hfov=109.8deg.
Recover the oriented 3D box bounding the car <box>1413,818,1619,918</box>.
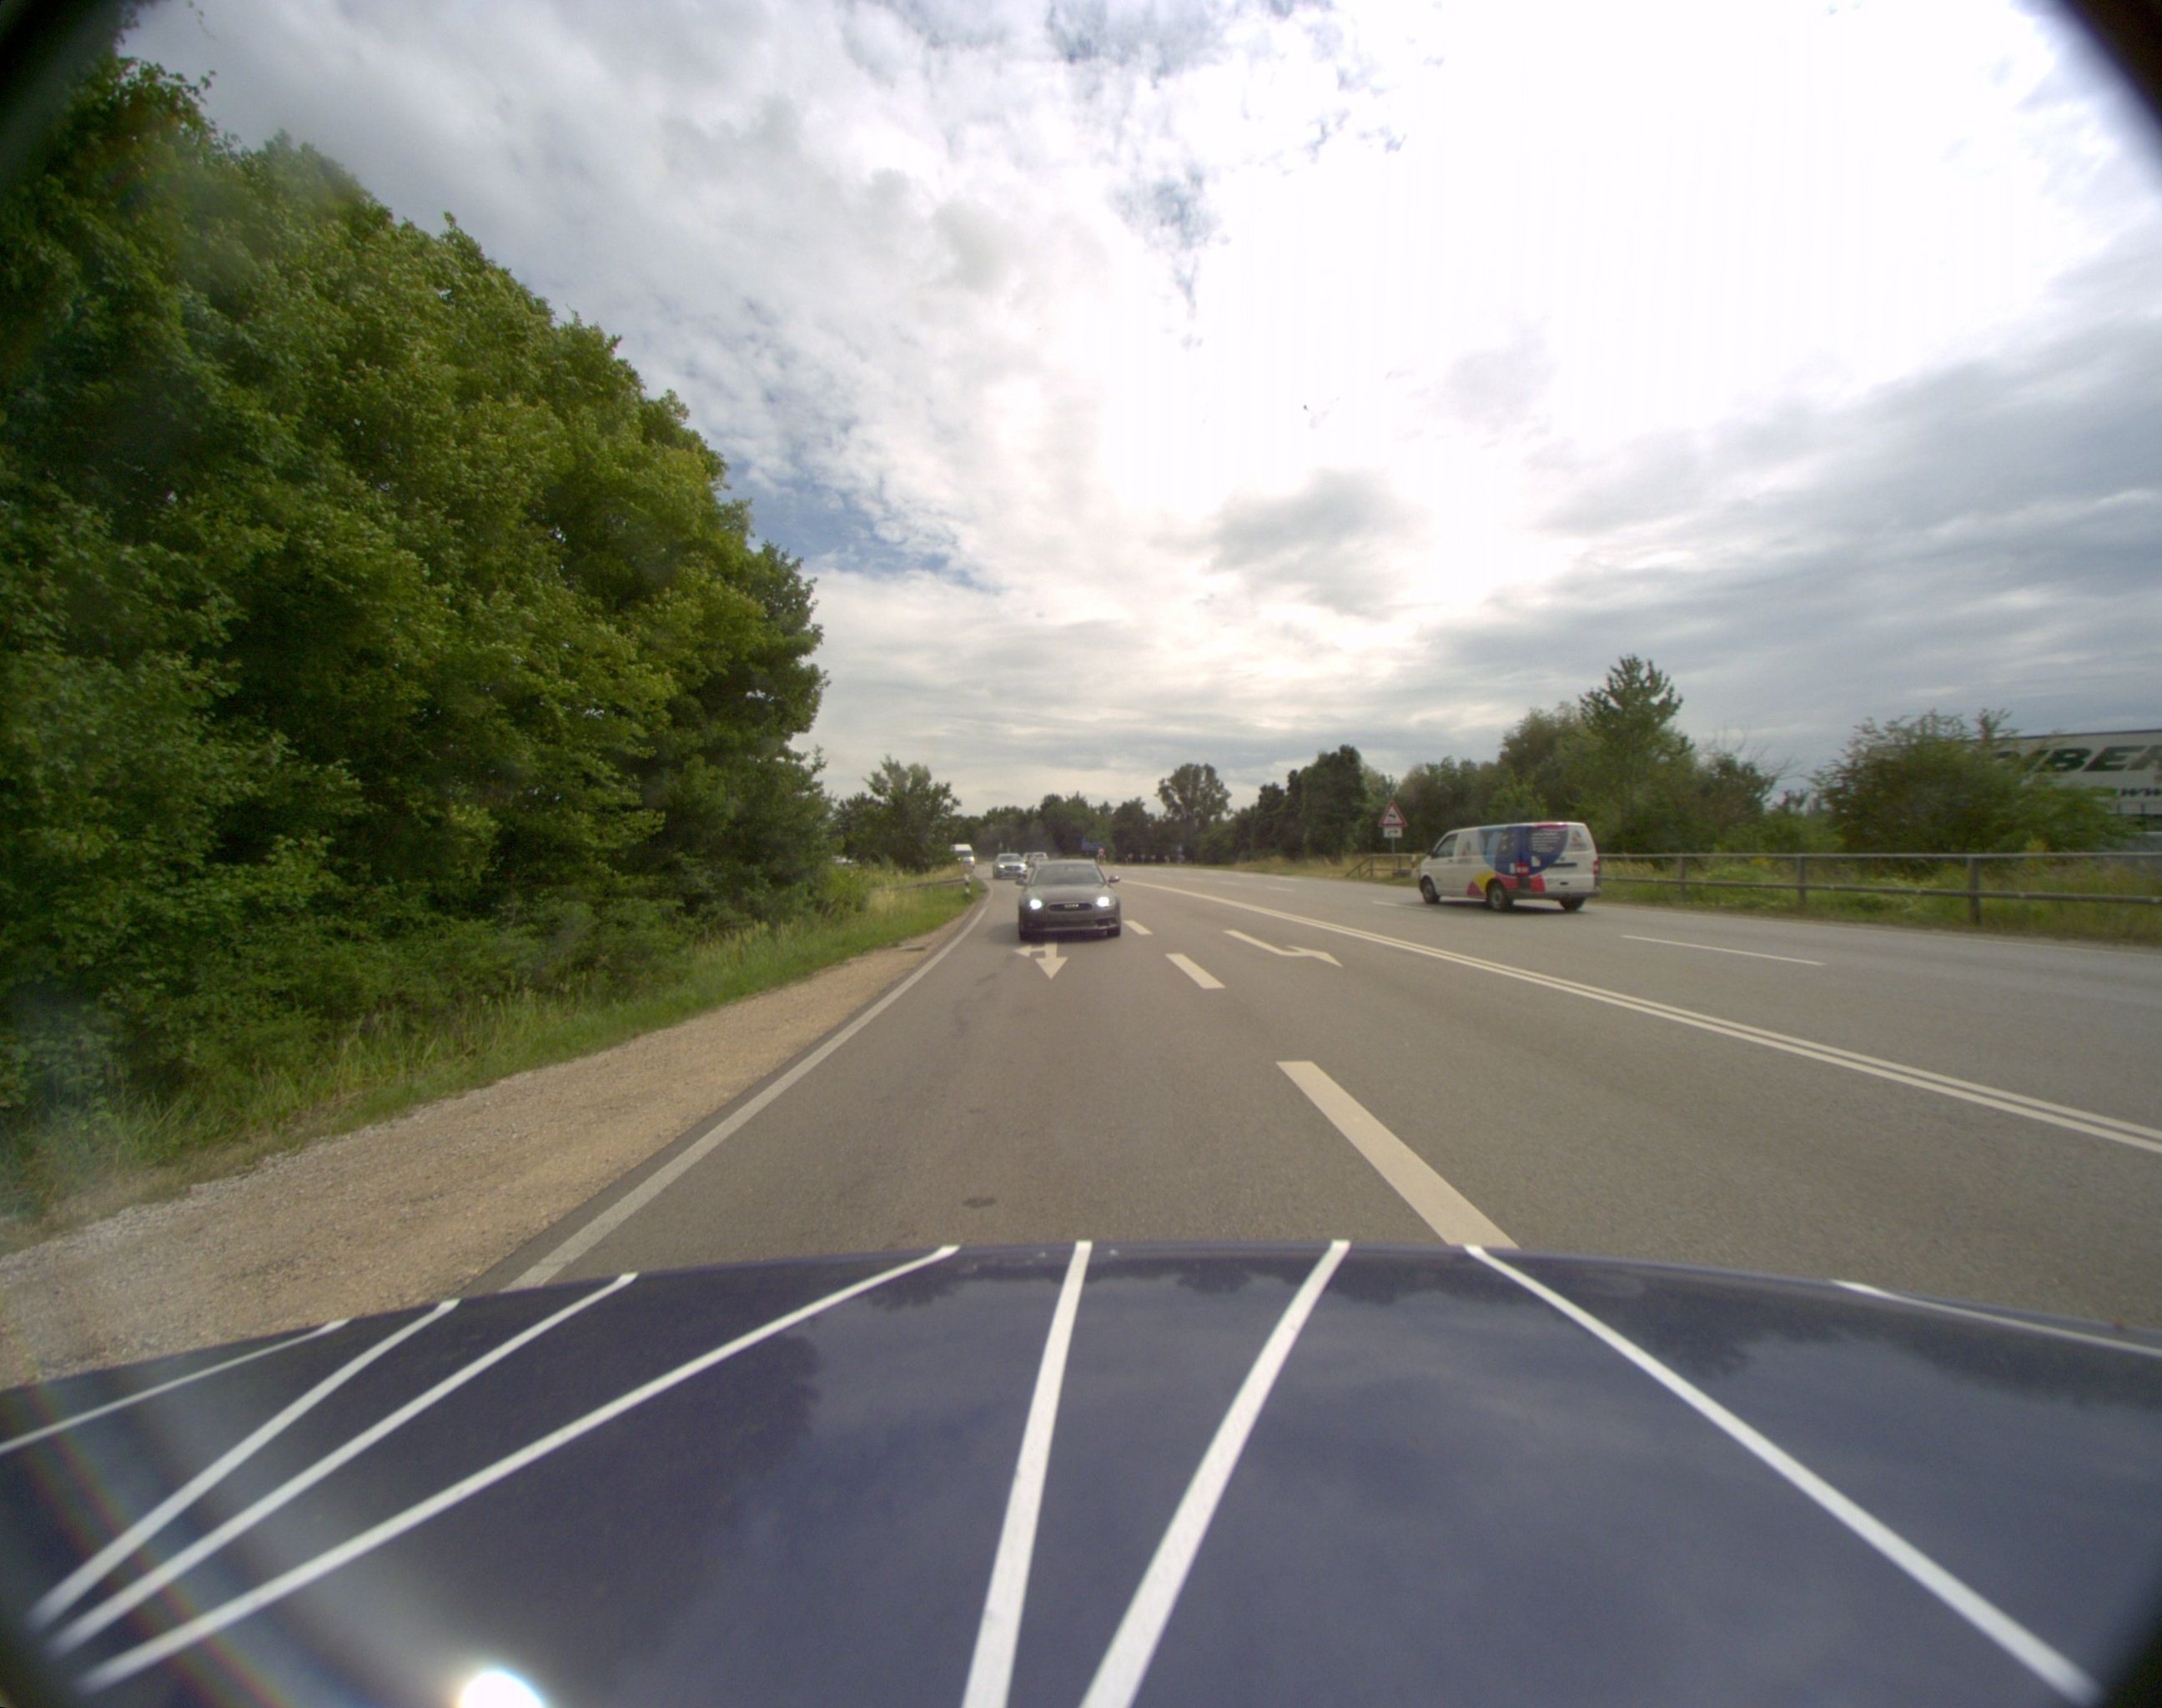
[{"bbox_3d":[9.968,0.289,17.956,1.999,2.002,4.665,-2,0,-3],"label":"car"}]

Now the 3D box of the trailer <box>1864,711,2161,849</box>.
[{"bbox_3d":[39.444,-2.790,31.680,2.811,4.967,8.965,-3,1,-26],"label":"trailer"}]

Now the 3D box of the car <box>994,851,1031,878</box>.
[{"bbox_3d":[-4.527,0.660,49.576,2.022,1.603,4.277,-2,0,-10],"label":"car"}]

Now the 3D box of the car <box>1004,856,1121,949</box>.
[{"bbox_3d":[-0.328,0.838,15.073,1.957,1.527,4.000,-2,0,0],"label":"car"}]

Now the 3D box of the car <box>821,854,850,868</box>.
[{"bbox_3d":[-36.934,1.088,114.345,4.004,2.002,1.996,-2,1,-23],"label":"car"}]

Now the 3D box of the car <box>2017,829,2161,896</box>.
[{"bbox_3d":[31.069,0.213,22.017,4.535,1.865,2.003,-2,0,25],"label":"car"}]

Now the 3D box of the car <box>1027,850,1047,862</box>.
[{"bbox_3d":[-5.826,0.286,100.301,1.883,1.480,3.739,-2,0,-14],"label":"car"}]

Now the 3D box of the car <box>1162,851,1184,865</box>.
[{"bbox_3d":[13.047,0.513,107.527,1.995,1.787,4.326,-2,0,22],"label":"car"}]

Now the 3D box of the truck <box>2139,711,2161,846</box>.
[{"bbox_3d":[42.095,-2.851,26.170,2.808,4.967,6.177,-3,1,-26],"label":"truck"}]

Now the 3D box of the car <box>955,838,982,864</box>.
[{"bbox_3d":[-12.526,-0.271,84.446,2.222,2.654,5.234,-3,-1,-15],"label":"car"}]

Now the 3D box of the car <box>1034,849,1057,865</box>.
[{"bbox_3d":[-3.754,0.329,79.241,1.736,1.509,3.996,-3,1,-11],"label":"car"}]
